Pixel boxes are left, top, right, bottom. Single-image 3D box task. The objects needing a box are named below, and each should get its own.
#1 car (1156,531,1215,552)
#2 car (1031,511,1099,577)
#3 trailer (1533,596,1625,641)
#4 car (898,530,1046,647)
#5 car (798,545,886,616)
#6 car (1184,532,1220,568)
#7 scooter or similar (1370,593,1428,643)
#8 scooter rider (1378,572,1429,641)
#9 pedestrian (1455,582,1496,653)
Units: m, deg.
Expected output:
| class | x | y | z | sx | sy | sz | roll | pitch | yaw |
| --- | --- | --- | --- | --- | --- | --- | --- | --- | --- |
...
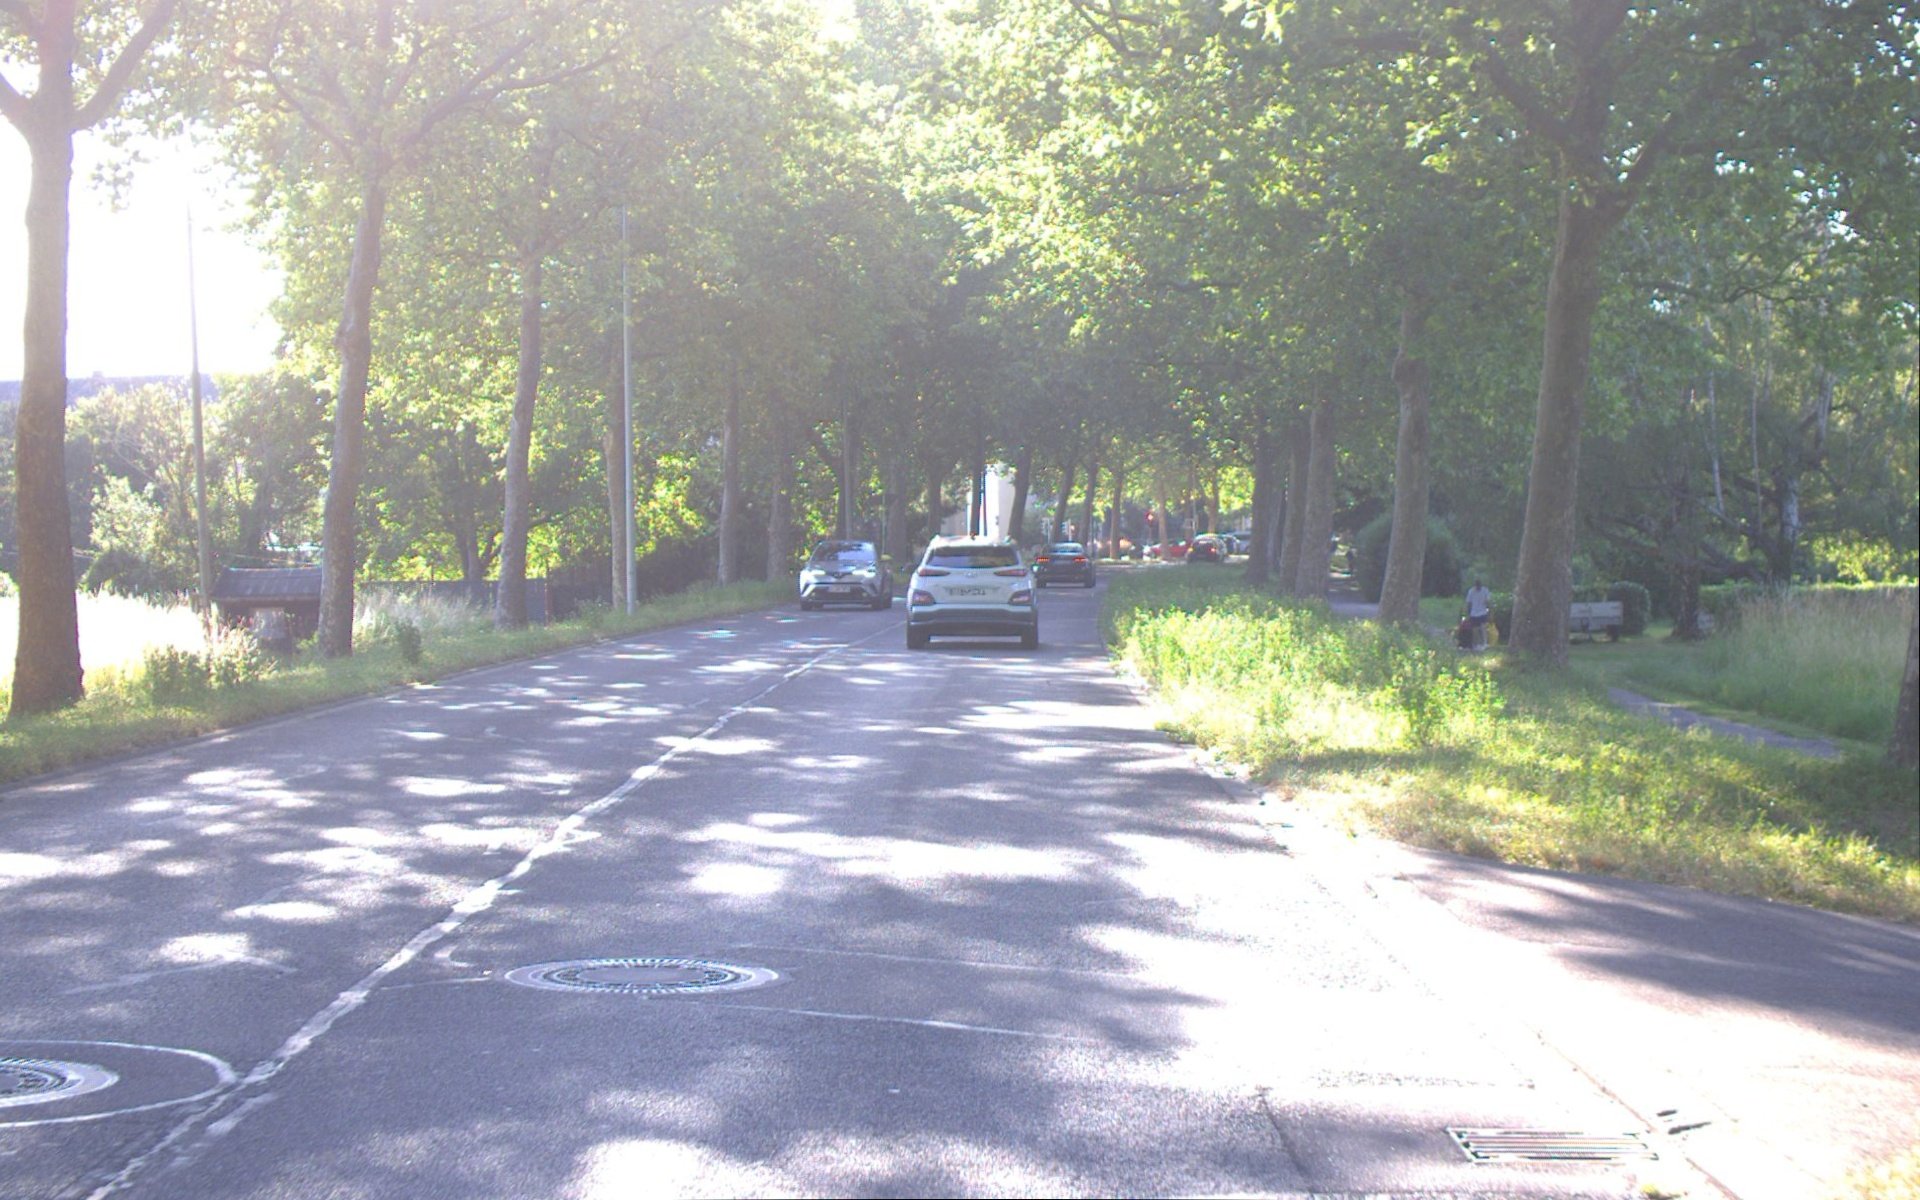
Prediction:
| class | x | y | z | sx | sy | sz | roll | pitch | yaw |
| --- | --- | --- | --- | --- | --- | --- | --- | --- | --- |
| car | 16.318 | -4.194 | 248.580 | 3.989 | 1.473 | 1.999 | 1 | 0 | 11 |
| car | 3.313 | -1.740 | 107.993 | 1.994 | 2.007 | 3.999 | 1 | 0 | 4 |
| trailer | 14.790 | 0.439 | 82.194 | 2.118 | 1.049 | 1.200 | 1 | 0 | 8 |
| car | 0.203 | -0.179 | 48.694 | 1.993 | 1.569 | 4.000 | 0 | 1 | 1 |
| car | -2.569 | -0.441 | 75.697 | 1.715 | 1.500 | 4.000 | 1 | 0 | 1 |
| car | 13.758 | -2.809 | 195.373 | 1.994 | 2.007 | 3.999 | 1 | 0 | 4 |
| scooter or similar | 10.105 | 0.406 | 79.072 | 1.595 | 1.131 | 0.341 | 0 | 0 | -41 |
| scooter rider | 10.224 | 0.140 | 79.226 | 0.842 | 1.571 | 0.784 | 0 | 0 | -42 |
| pedestrian | 11.548 | 0.383 | 77.015 | 0.842 | 1.571 | 1.206 | 1 | 0 | 11 |
